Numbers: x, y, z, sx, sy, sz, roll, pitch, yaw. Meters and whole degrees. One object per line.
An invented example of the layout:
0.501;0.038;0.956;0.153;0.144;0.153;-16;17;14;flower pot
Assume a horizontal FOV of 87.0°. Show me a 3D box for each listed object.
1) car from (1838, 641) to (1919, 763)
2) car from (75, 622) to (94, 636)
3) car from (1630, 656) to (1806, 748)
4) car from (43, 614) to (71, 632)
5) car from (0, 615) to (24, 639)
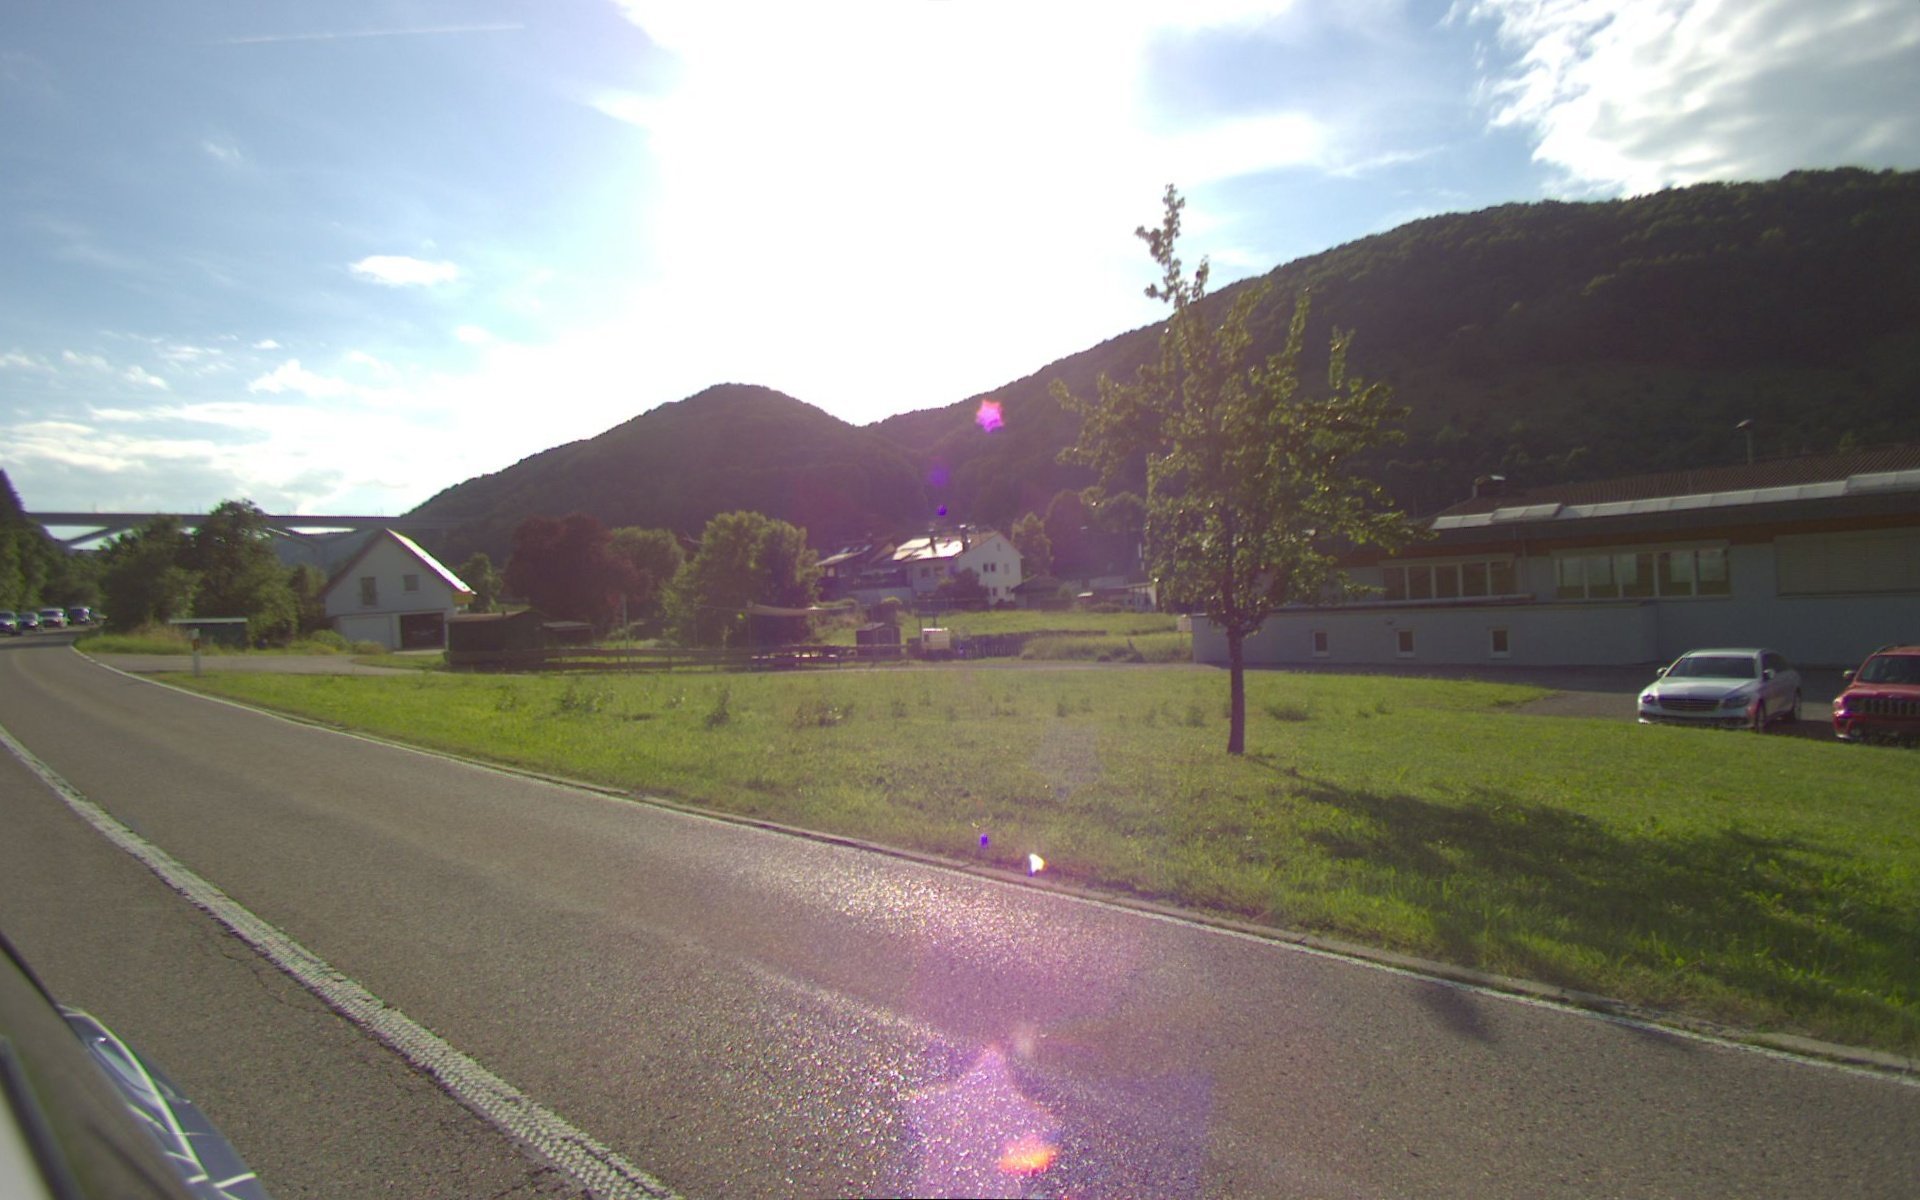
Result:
16.312;1.622;16.731;4.264;1.682;1.852;-1;0;-37;car
-98.384;3.210;113.719;1.606;1.490;3.684;-1;0;-42;car
14.462;1.845;19.238;3.837;1.379;1.856;0;-1;-40;car
-80.155;2.011;89.830;3.680;1.490;1.608;-1;0;44;car
-61.195;1.713;64.714;3.678;1.490;1.609;-1;0;41;car
